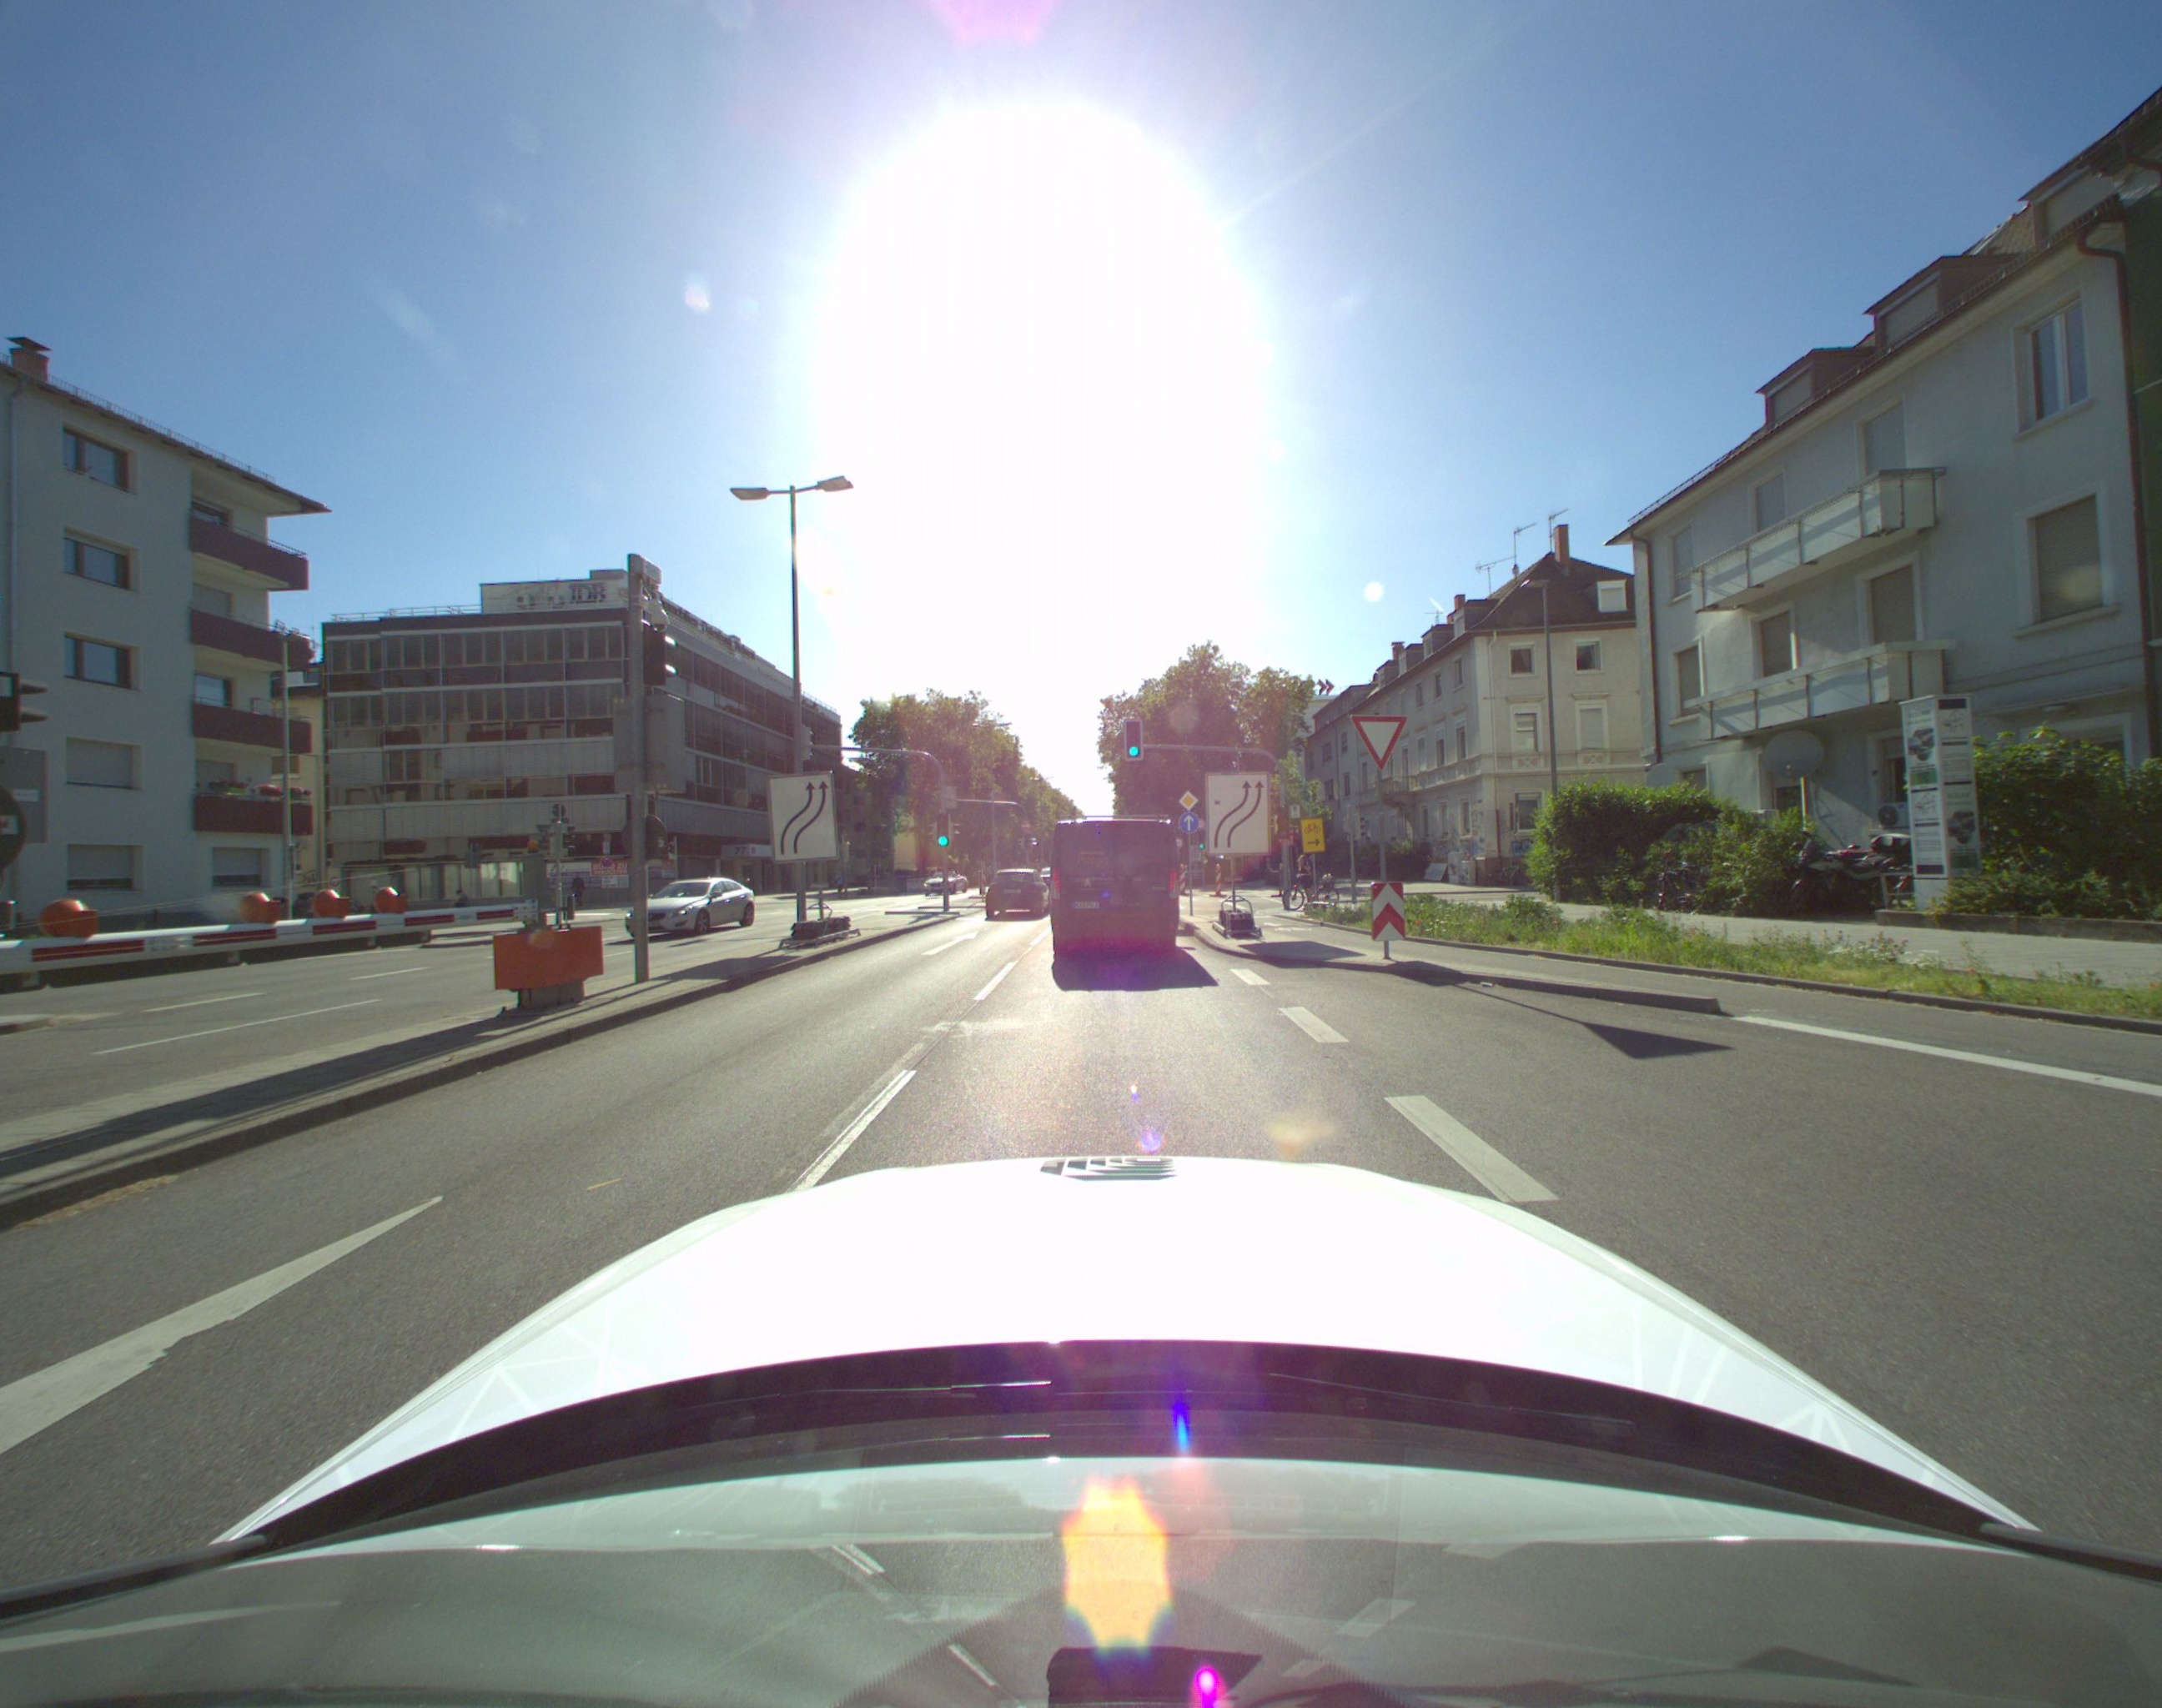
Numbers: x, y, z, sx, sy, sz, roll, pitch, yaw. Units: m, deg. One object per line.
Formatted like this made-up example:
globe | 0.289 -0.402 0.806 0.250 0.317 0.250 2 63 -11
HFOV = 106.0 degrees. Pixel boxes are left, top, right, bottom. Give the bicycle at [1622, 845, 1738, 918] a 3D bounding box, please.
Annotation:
bicycle | 12.713 0.552 17.411 0.705 1.443 2.492 0 0 2

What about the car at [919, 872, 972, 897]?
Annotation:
car | -7.933 1.763 48.172 1.921 1.345 4.324 -2 -1 6

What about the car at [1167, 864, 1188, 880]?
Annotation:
car | 9.726 1.815 82.192 1.756 1.508 4.253 -1 -1 3

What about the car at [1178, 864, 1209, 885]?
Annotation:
car | 8.650 1.578 62.982 1.845 1.479 4.943 -1 -1 1

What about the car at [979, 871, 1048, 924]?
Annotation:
car | -2.027 1.301 25.510 1.740 1.407 4.001 0 0 1

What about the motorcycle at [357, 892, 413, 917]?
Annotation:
motorcycle | -28.259 2.034 33.105 0.500 0.936 1.847 -1 -1 10

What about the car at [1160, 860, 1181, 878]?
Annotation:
car | 10.318 1.696 93.869 2.018 1.946 5.275 -1 -1 2

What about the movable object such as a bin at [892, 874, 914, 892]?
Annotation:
movable object such as a bin | -14.558 2.377 66.723 1.209 1.388 1.857 -1 -1 4

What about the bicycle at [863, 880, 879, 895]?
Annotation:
bicycle | -15.933 2.527 61.891 0.624 1.037 1.881 -1 -1 4

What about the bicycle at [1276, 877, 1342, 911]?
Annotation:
bicycle | 7.271 1.271 25.997 1.955 1.025 0.605 0 0 1

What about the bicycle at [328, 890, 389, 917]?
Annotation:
bicycle | -29.868 2.035 33.694 0.502 0.978 1.894 -2 -1 19

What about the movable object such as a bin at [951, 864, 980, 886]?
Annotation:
movable object such as a bin | -13.236 2.388 93.441 1.984 2.279 5.606 -2 -1 5

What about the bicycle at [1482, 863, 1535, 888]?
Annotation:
bicycle | 19.171 0.967 36.544 1.987 1.080 0.579 -1 -1 4

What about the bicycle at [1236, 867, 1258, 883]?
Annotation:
bicycle | 11.057 1.403 54.169 0.581 1.005 2.145 -2 -1 37

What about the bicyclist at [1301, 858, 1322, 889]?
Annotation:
bicyclist | 11.639 0.977 41.092 0.716 1.499 0.877 -2 -1 38

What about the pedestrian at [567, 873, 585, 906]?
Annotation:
pedestrian | -26.198 1.836 42.278 0.702 1.658 0.739 -1 -1 -28

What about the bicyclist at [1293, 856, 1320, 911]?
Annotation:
bicyclist | 7.211 0.922 26.058 0.601 1.708 0.859 -2 -1 2

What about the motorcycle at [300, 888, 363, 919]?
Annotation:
motorcycle | -29.402 1.928 31.983 0.607 1.142 1.789 -1 -1 12

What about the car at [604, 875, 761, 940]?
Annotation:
car | -10.627 1.366 22.157 1.986 1.453 4.391 1 0 1

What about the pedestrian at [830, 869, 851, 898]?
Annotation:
pedestrian | -14.768 1.802 49.984 0.859 1.711 1.015 -2 -1 10

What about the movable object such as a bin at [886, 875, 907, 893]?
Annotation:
movable object such as a bin | -14.576 2.372 64.385 1.109 1.388 1.858 -1 -1 4

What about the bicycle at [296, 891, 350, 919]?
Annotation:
bicycle | -31.344 2.110 33.707 0.486 1.068 1.739 -1 -1 5

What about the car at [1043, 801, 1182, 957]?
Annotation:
car | 0.547 0.390 14.385 2.087 2.355 3.934 -1 0 2

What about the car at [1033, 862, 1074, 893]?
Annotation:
car | -1.254 1.103 39.051 1.740 1.407 4.000 0 -1 1

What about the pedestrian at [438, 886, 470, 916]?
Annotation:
pedestrian | -25.358 1.882 32.953 0.717 1.153 0.786 -1 -1 -10

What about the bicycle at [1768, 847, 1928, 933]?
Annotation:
bicycle | 13.904 0.642 14.802 2.247 1.485 0.638 -1 -1 0

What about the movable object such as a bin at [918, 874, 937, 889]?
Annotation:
movable object such as a bin | -13.864 2.510 73.714 1.403 1.338 1.158 -1 -1 4

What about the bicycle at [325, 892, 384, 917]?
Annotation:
bicycle | -30.406 2.113 34.120 0.474 0.947 1.957 -2 -1 12

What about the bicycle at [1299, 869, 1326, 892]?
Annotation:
bicycle | 11.655 1.312 41.032 0.682 1.098 1.697 -2 -1 39
